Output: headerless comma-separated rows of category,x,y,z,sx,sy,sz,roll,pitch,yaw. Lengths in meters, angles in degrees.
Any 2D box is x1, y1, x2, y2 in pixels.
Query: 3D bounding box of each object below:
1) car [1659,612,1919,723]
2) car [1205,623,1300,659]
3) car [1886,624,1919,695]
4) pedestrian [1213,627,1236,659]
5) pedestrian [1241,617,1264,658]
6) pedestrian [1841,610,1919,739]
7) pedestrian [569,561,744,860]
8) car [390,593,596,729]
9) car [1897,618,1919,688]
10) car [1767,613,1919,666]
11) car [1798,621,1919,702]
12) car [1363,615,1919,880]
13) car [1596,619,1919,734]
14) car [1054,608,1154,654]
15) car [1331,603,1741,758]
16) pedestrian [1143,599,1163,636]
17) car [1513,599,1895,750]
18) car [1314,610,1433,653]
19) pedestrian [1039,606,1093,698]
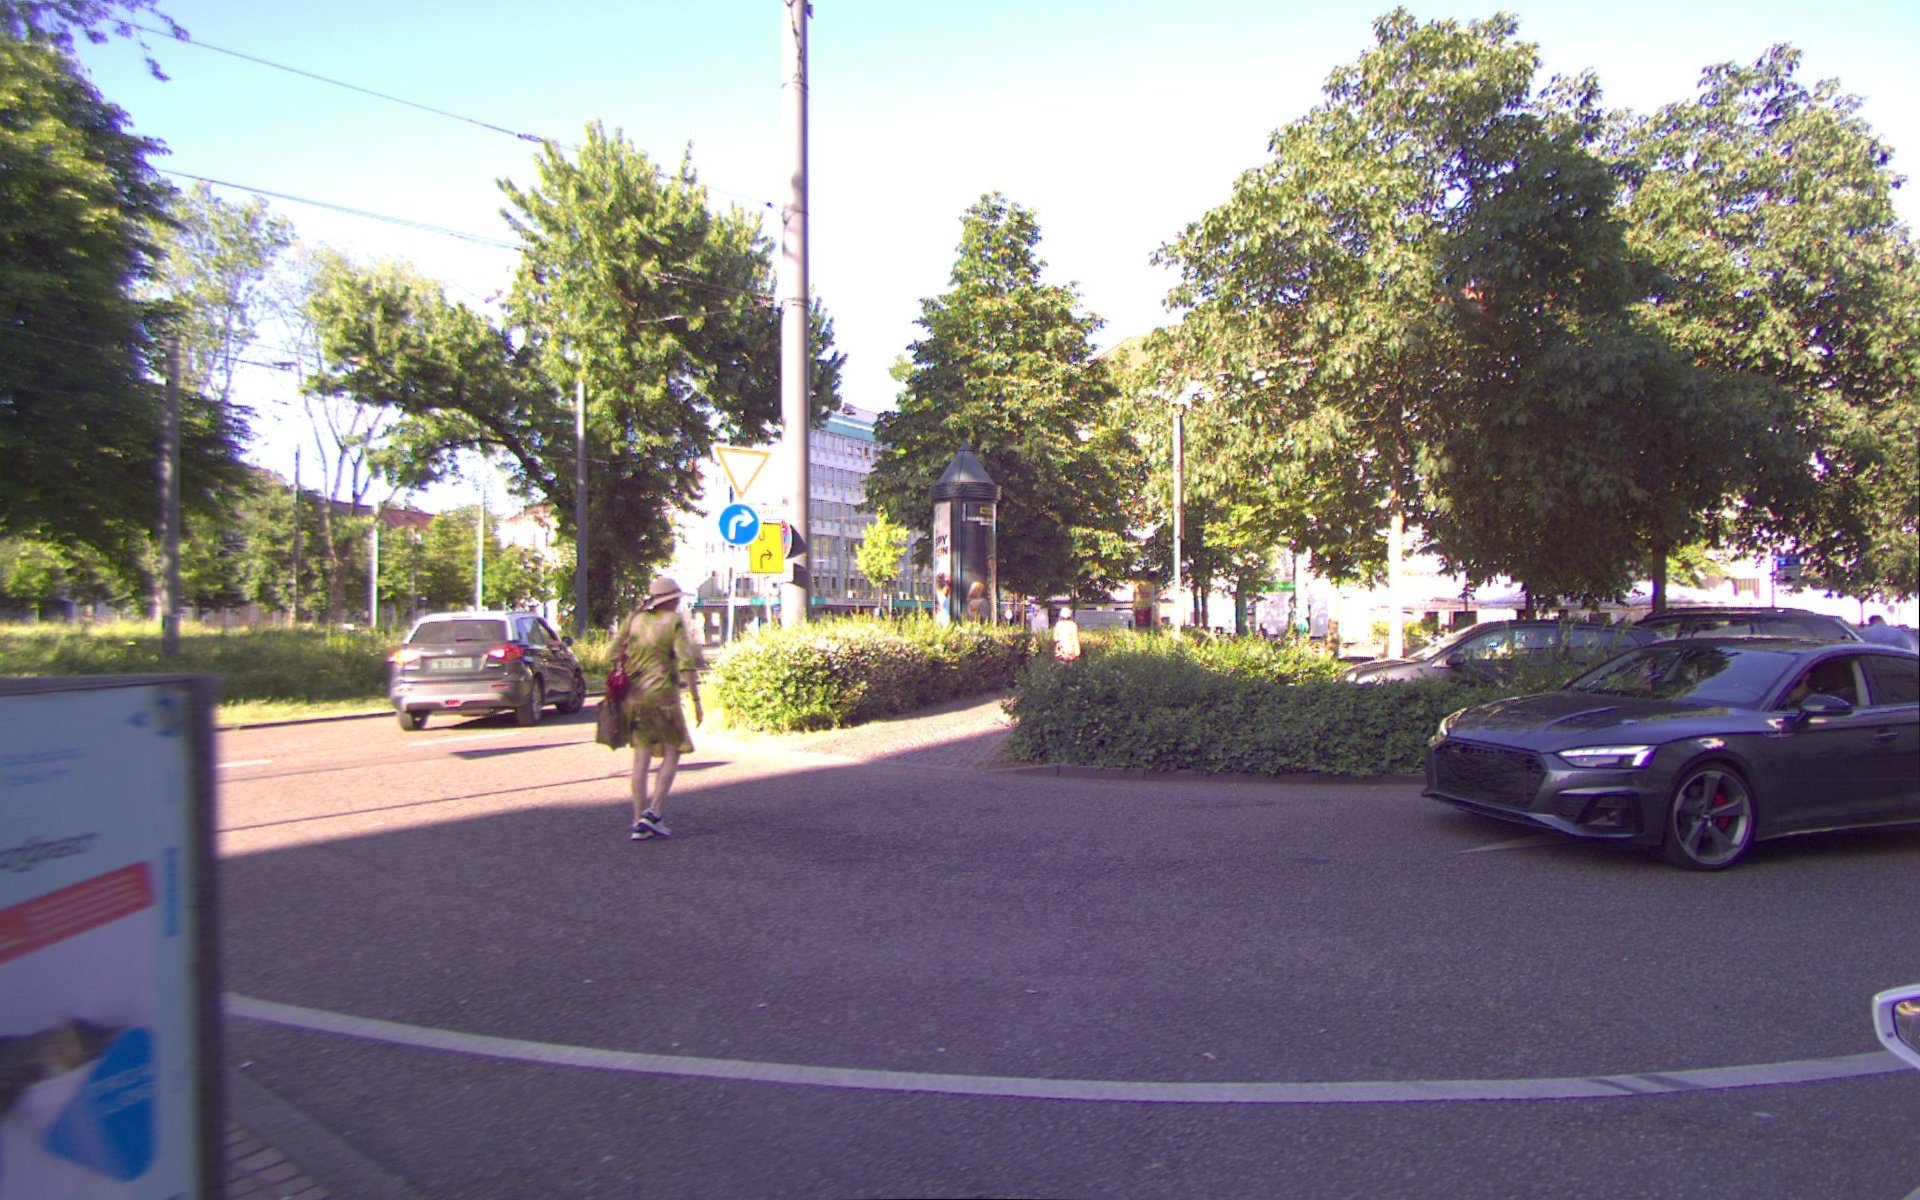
car,14.510,1.079,17.054,1.731,1.619,3.964,2,-1,-33
car,16.465,2.300,56.680,4.797,1.828,1.901,1,-1,39
car,22.380,1.340,20.984,4.162,1.496,1.731,2,-1,33
pedestrian,10.672,1.713,40.474,0.553,1.253,0.666,2,-1,-38
pedestrian,11.526,1.477,39.570,0.549,1.567,0.671,2,-1,-13
pedestrian,12.460,0.979,13.566,0.640,1.671,0.694,2,-1,-37
pedestrian,-1.881,0.647,6.315,0.656,1.721,0.805,1,-1,18
car,-6.607,0.853,14.671,1.780,1.704,3.864,1,-2,-11
car,24.156,1.297,22.726,3.927,1.607,1.828,2,0,29
car,33.969,1.480,37.955,5.191,1.823,2.157,1,-1,34
car,19.600,1.250,19.662,4.773,1.508,1.758,1,-1,37
car,5.498,0.914,7.164,4.734,1.435,1.910,2,-1,-18
car,12.461,1.091,15.645,1.788,1.467,3.954,2,-1,-39
car,8.075,1.709,56.616,5.268,2.344,1.993,1,-1,37
car,6.608,0.851,11.982,3.925,1.489,1.873,2,-1,26
pedestrian,7.834,0.709,40.816,0.548,1.484,0.672,2,-1,31
car,10.015,0.870,13.689,3.945,1.690,1.988,1,0,44
car,21.682,1.635,52.753,5.499,2.040,1.813,1,-1,34
pedestrian,1.881,0.894,17.701,0.755,1.542,0.959,2,-1,15
